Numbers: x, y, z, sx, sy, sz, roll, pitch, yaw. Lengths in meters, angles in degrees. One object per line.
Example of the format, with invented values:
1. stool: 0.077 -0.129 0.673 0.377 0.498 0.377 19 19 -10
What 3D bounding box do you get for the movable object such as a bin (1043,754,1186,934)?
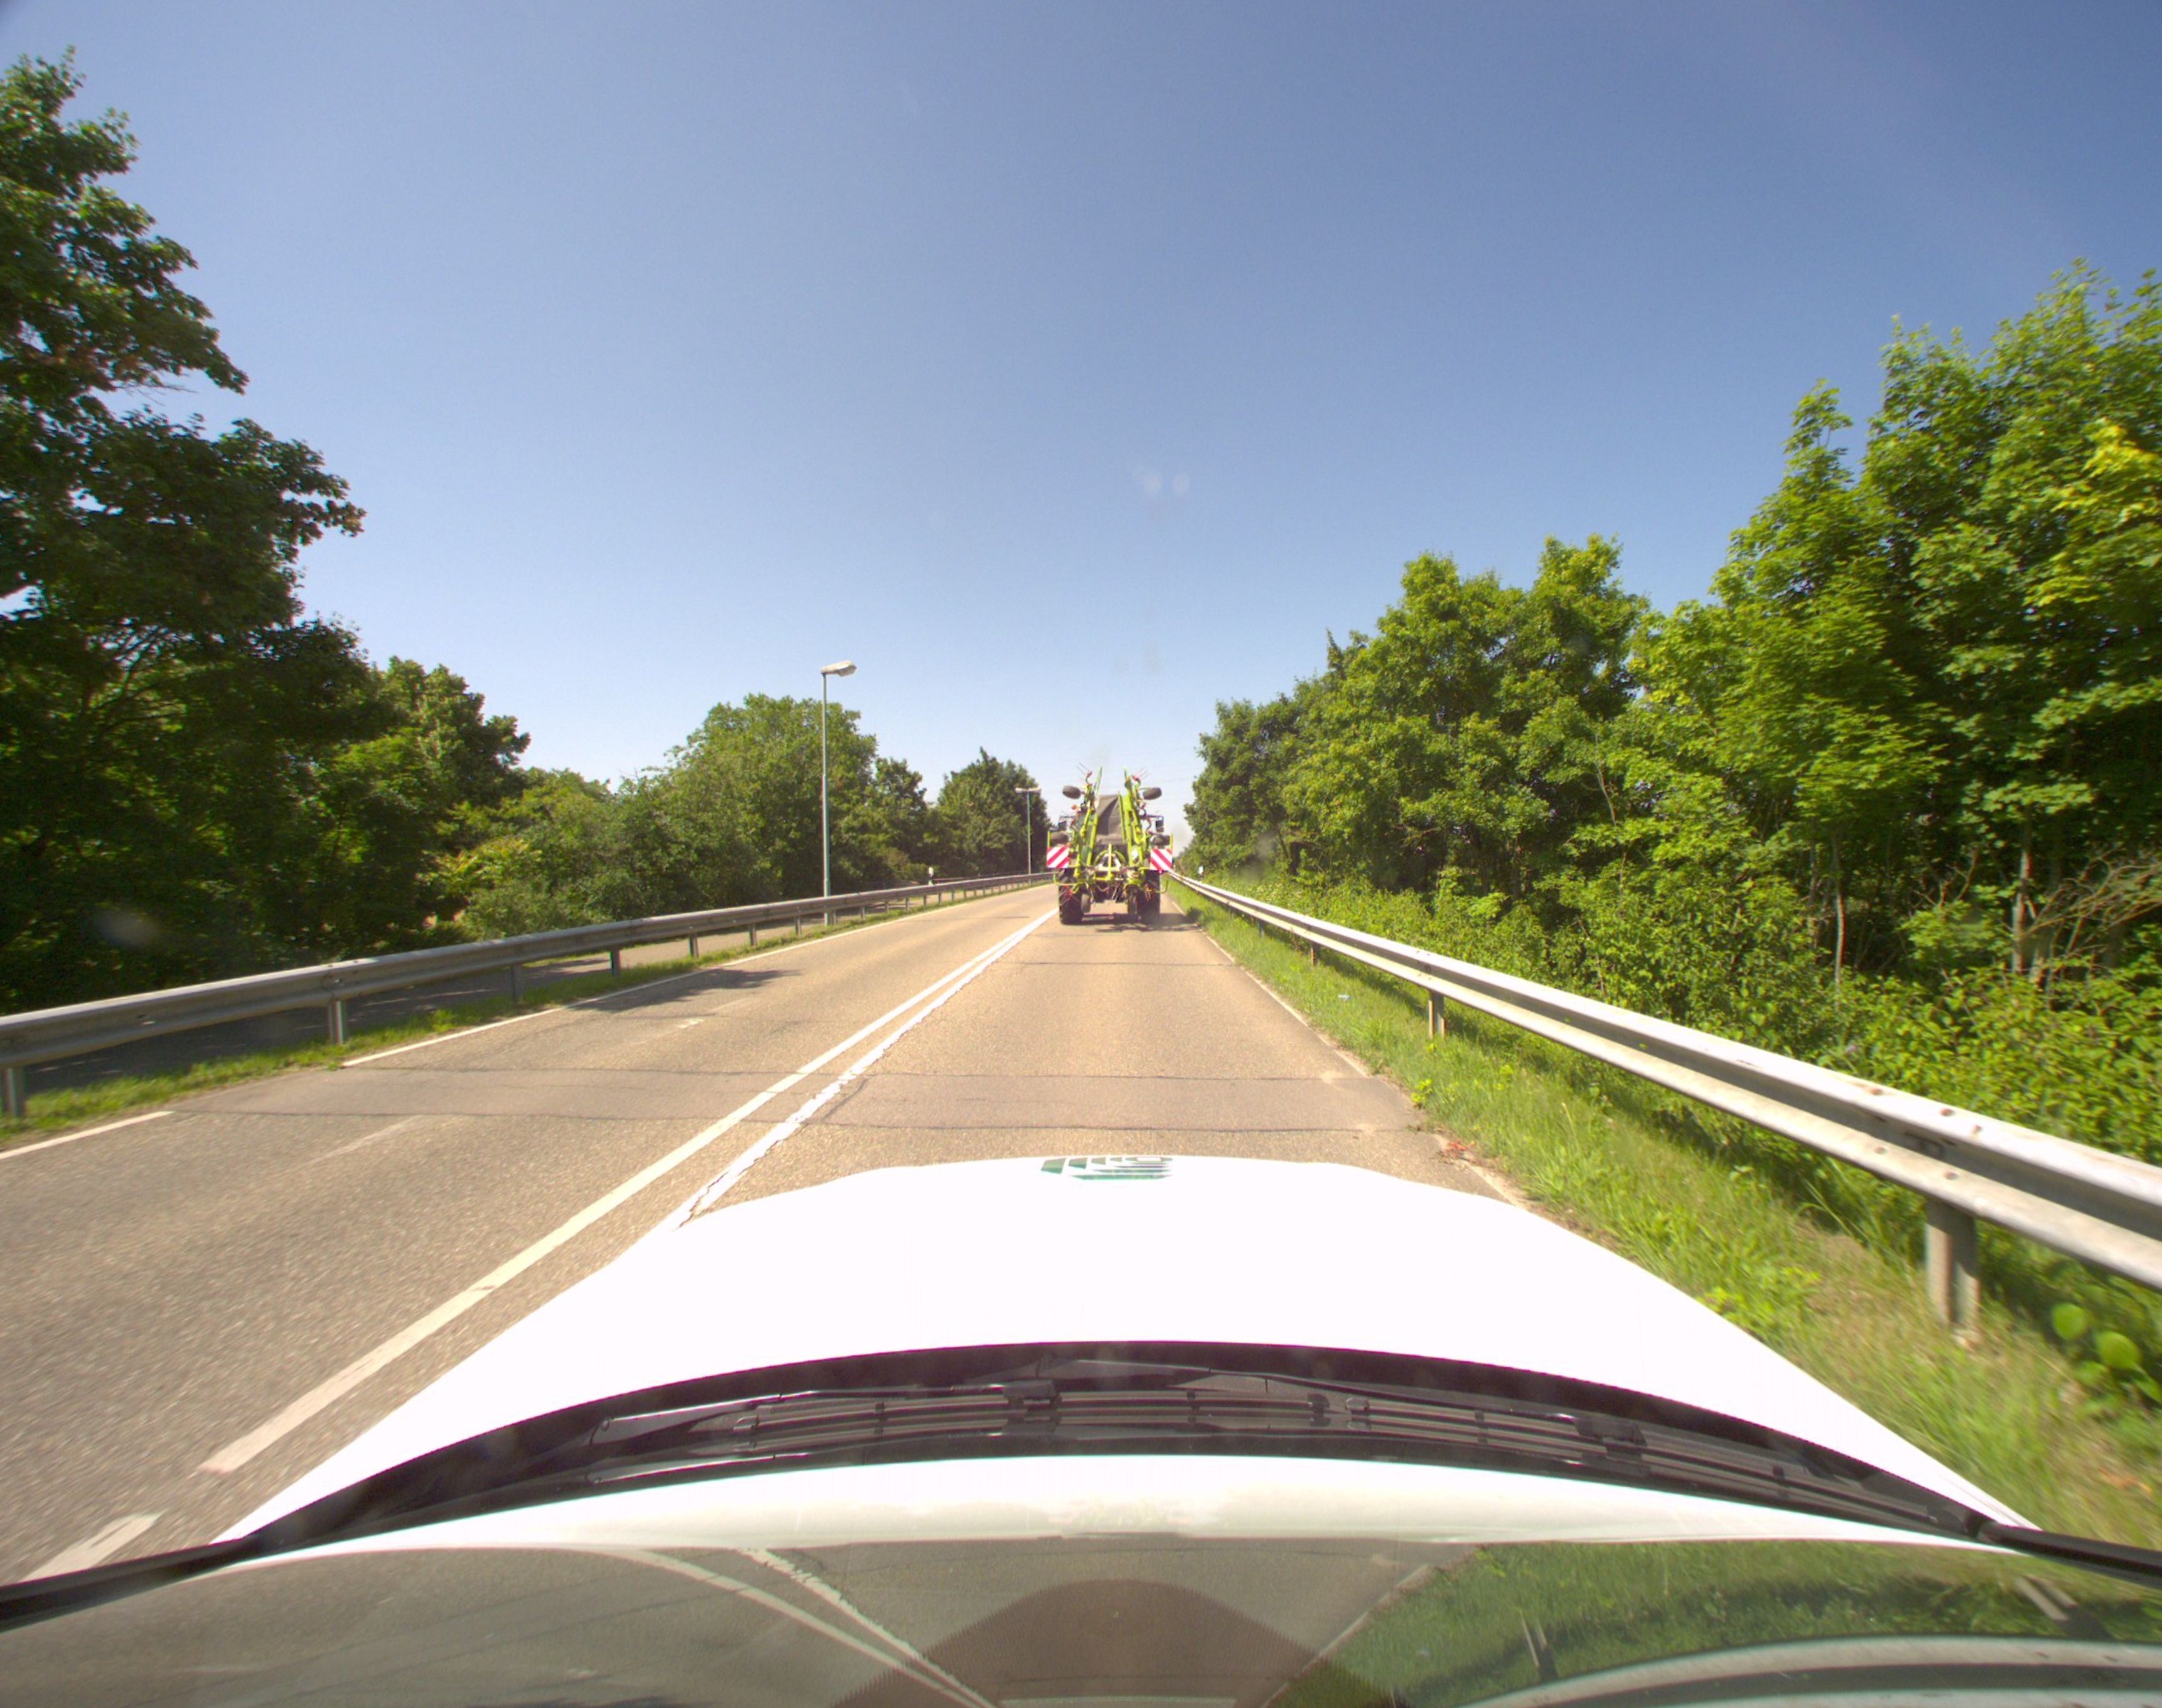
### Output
1. movable object such as a bin: 0.676 -0.197 18.652 2.746 3.444 5.670 -1 0 0
